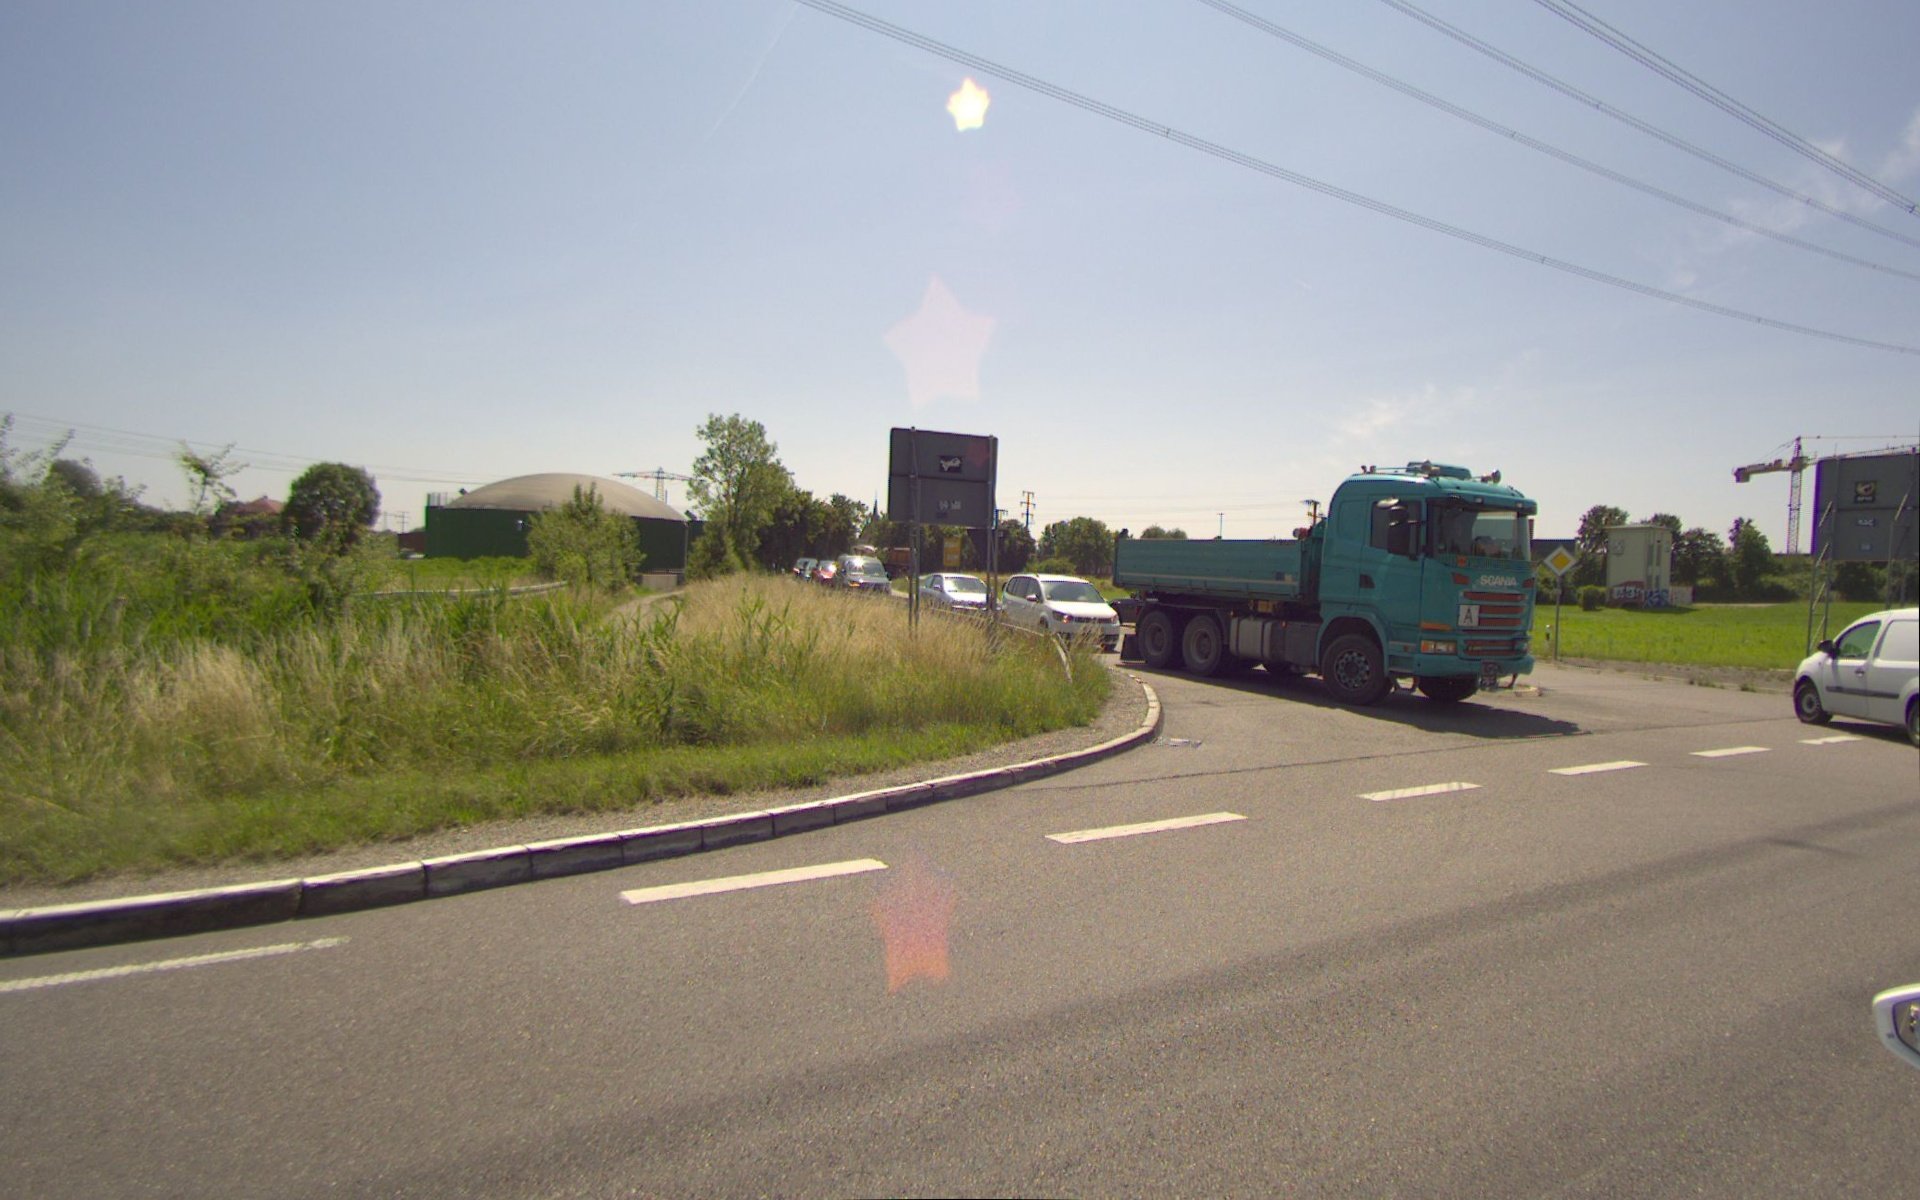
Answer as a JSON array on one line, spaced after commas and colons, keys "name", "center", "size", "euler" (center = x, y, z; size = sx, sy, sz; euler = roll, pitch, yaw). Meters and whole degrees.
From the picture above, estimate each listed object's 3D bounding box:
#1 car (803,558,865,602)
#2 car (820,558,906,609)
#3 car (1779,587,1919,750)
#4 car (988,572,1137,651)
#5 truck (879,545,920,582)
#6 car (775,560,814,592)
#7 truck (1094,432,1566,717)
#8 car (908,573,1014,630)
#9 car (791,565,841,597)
[{"name": "car", "center": [-5.867, -0.958, 46.229], "size": [1.887, 1.874, 4.462], "euler": [2, 2, -20]}, {"name": "car", "center": [-3.925, -0.694, 39.783], "size": [2.058, 1.893, 4.925], "euler": [0, 2, -22]}, {"name": "car", "center": [13.148, 0.879, 13.600], "size": [1.796, 1.997, 4.001], "euler": [1, 0, 17]}, {"name": "car", "center": [2.288, 0.192, 23.927], "size": [1.936, 1.634, 4.539], "euler": [2, 2, -16]}, {"name": "truck", "center": [-5.968, -3.577, 100.061], "size": [2.772, 3.332, 9.704], "euler": [1, 1, 4]}, {"name": "car", "center": [-9.623, -1.369, 58.350], "size": [1.966, 1.691, 3.990], "euler": [2, 0, -13]}, {"name": "truck", "center": [5.723, -0.508, 17.419], "size": [2.467, 3.785, 7.870], "euler": [2, 2, -28]}, {"name": "car", "center": [-0.059, -0.009, 29.663], "size": [1.692, 1.490, 4.425], "euler": [2, 1, -20]}, {"name": "car", "center": [-7.496, -1.009, 51.942], "size": [1.755, 1.498, 3.981], "euler": [2, 2, -20]}]
